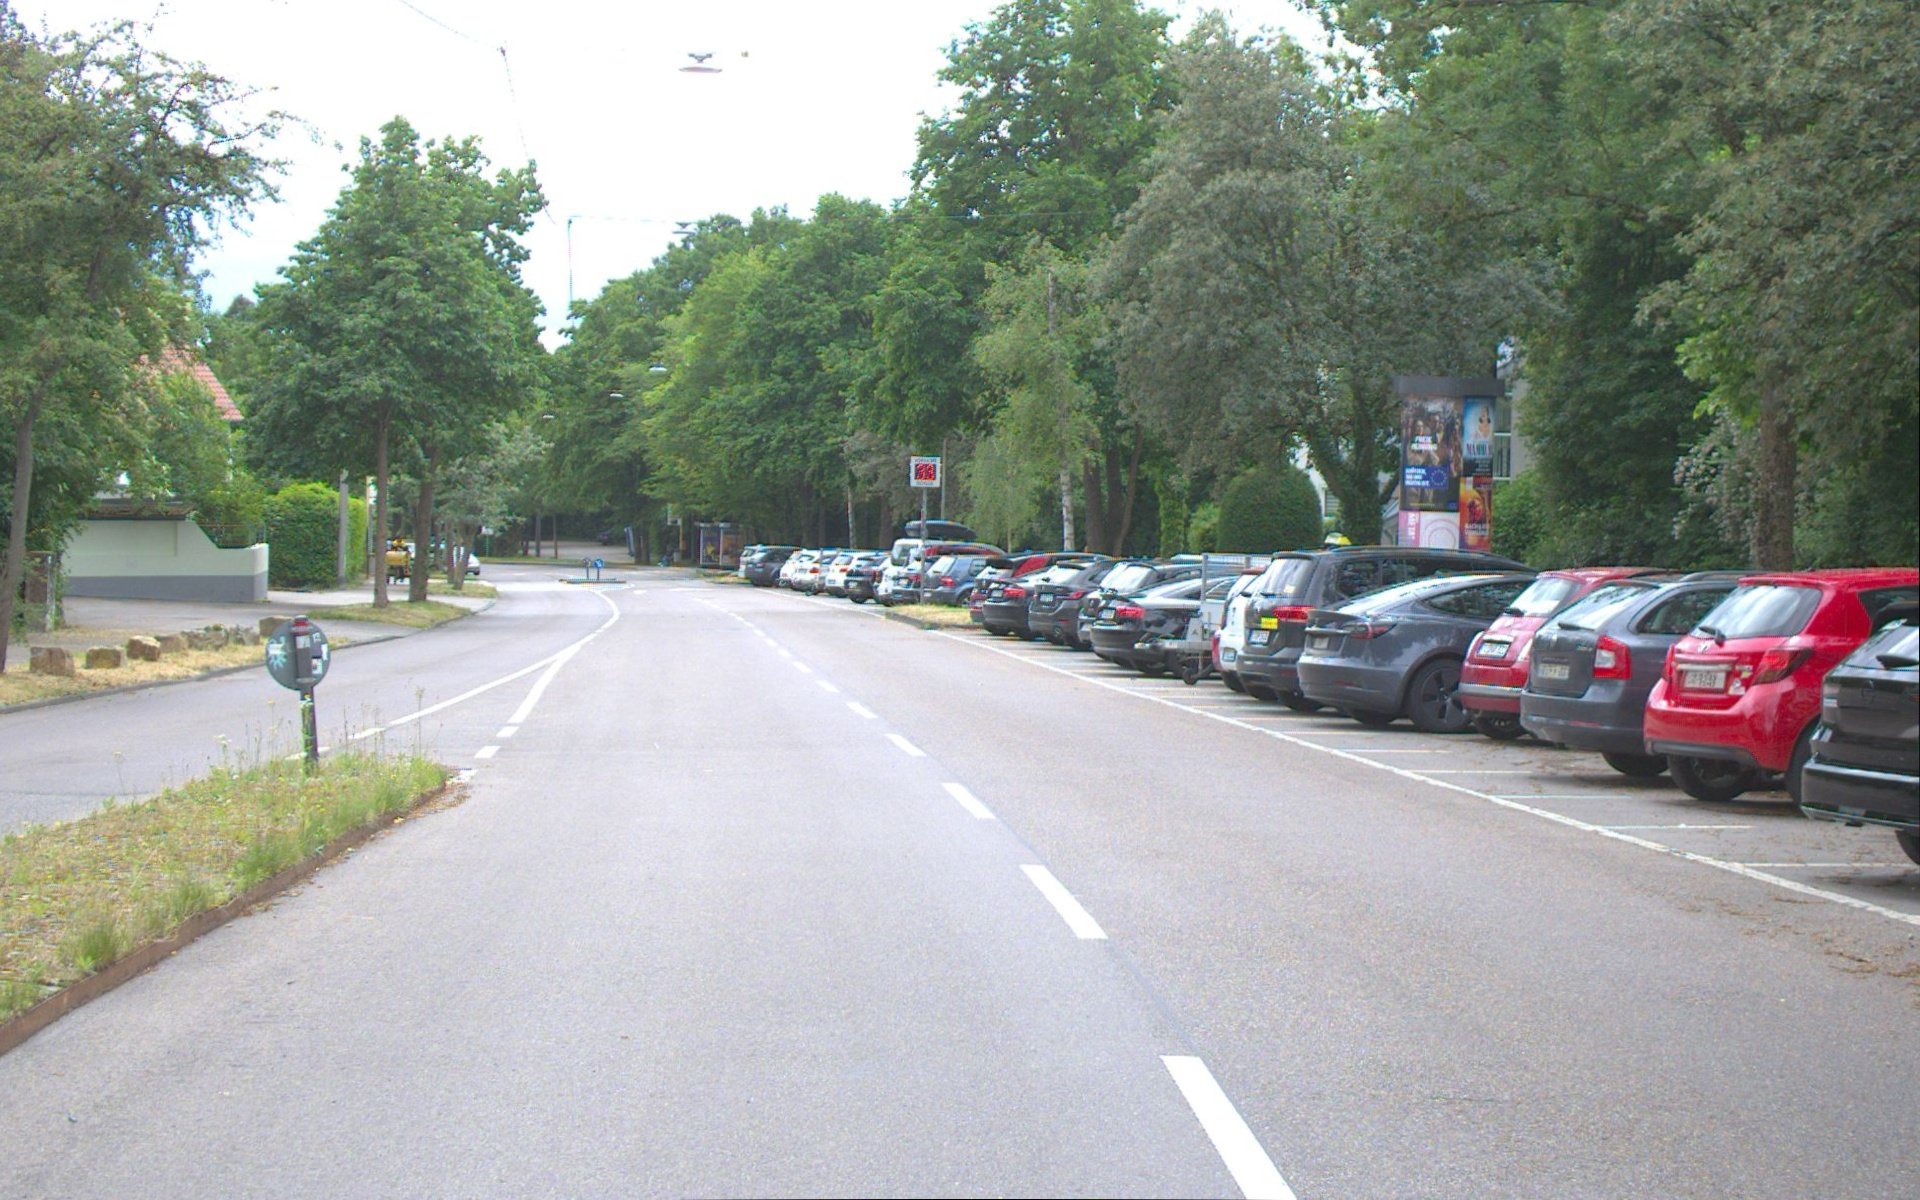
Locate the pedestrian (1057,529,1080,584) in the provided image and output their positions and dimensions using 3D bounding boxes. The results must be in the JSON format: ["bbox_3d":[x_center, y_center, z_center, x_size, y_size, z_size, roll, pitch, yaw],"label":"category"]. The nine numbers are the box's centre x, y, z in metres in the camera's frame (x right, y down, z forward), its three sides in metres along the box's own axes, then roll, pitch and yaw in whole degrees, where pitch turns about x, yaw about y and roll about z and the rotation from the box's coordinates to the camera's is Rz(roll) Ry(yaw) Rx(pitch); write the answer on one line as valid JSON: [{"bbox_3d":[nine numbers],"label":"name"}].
[{"bbox_3d":[3.296,-1.313,104.314,0.649,1.665,0.744,1,1,1],"label":"pedestrian"}]

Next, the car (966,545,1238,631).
[{"bbox_3d":[2.441,-0.215,59.270,4.311,1.336,1.734,2,1,-18],"label":"car"}]

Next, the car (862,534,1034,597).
[{"bbox_3d":[-0.310,-0.891,88.723,3.965,1.444,1.919,2,1,-20],"label":"car"}]

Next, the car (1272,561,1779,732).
[{"bbox_3d":[5.102,0.415,31.118,4.158,1.402,1.698,1,1,-15],"label":"car"}]

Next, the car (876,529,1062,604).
[{"bbox_3d":[0.220,-0.809,82.551,3.995,1.614,1.885,2,1,-21],"label":"car"}]

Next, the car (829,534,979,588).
[{"bbox_3d":[-1.613,-1.124,98.945,3.884,1.444,1.844,1,1,-28],"label":"car"}]

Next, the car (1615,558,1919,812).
[{"bbox_3d":[6.108,0.533,21.619,3.522,1.471,1.593,1,1,-17],"label":"car"}]

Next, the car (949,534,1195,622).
[{"bbox_3d":[2.022,-0.395,62.088,4.070,1.510,1.734,1,1,-27],"label":"car"}]

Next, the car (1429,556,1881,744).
[{"bbox_3d":[5.851,0.412,29.087,3.325,1.459,1.635,2,1,-14],"label":"car"}]

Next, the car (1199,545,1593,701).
[{"bbox_3d":[4.602,0.237,36.531,3.819,1.524,1.606,2,1,-9],"label":"car"}]

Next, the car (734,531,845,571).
[{"bbox_3d":[-6.592,-1.883,133.016,3.883,1.424,1.744,1,1,-24],"label":"car"}]

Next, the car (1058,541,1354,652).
[{"bbox_3d":[3.511,-0.054,49.211,3.839,1.450,1.635,2,1,-16],"label":"car"}]

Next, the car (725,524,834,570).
[{"bbox_3d":[-7.137,-2.090,135.767,3.883,1.662,1.744,1,1,-24],"label":"car"}]

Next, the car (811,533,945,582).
[{"bbox_3d":[-2.611,-1.345,110.041,3.884,1.444,1.744,1,1,-26],"label":"car"}]

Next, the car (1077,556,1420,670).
[{"bbox_3d":[3.657,0.157,43.787,4.035,1.323,1.560,2,0,-13],"label":"car"}]

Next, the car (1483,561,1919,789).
[{"bbox_3d":[5.977,0.528,24.098,4.218,1.459,1.635,2,1,-13],"label":"car"}]

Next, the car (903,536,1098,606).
[{"bbox_3d":[0.908,-0.654,77.154,3.963,1.400,1.757,2,1,-19],"label":"car"}]

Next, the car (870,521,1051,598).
[{"bbox_3d":[0.018,-0.994,85.432,4.086,1.748,1.787,2,1,-31],"label":"car"}]

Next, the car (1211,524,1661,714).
[{"bbox_3d":[4.651,0.178,33.729,3.984,1.719,1.681,2,1,-14],"label":"car"}]

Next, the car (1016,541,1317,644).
[{"bbox_3d":[3.226,-0.118,53.701,4.343,1.440,1.635,2,1,-19],"label":"car"}]

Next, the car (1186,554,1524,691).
[{"bbox_3d":[4.464,0.250,38.982,3.423,1.440,1.560,1,1,-17],"label":"car"}]

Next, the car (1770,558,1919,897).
[{"bbox_3d":[6.092,0.610,16.178,4.134,1.471,1.577,2,1,-15],"label":"car"}]

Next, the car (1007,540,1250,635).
[{"bbox_3d":[2.776,-0.209,56.718,3.609,1.440,1.634,1,1,-20],"label":"car"}]

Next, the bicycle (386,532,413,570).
[{"bbox_3d":[-19.559,-1.725,120.000,0.844,1.262,2.653,2,2,-8],"label":"bicycle"}]

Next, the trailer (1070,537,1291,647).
[{"bbox_3d":[3.308,-0.125,51.622,2.985,1.537,1.304,1,2,-17],"label":"trailer"}]

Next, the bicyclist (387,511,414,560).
[{"bbox_3d":[-19.543,-2.256,120.026,0.844,1.691,0.714,2,2,-6],"label":"bicyclist"}]

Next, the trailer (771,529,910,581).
[{"bbox_3d":[-3.901,-1.467,112.117,4.153,1.568,1.712,2,1,-24],"label":"trailer"}]

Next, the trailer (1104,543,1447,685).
[{"bbox_3d":[3.762,0.162,41.184,3.687,1.530,1.646,2,1,-16],"label":"trailer"}]

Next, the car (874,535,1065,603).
[{"bbox_3d":[0.221,-0.729,79.629,4.026,1.400,1.757,2,1,-23],"label":"car"}]

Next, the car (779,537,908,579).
[{"bbox_3d":[-3.882,-1.404,114.818,3.884,1.305,1.744,1,1,-29],"label":"car"}]
